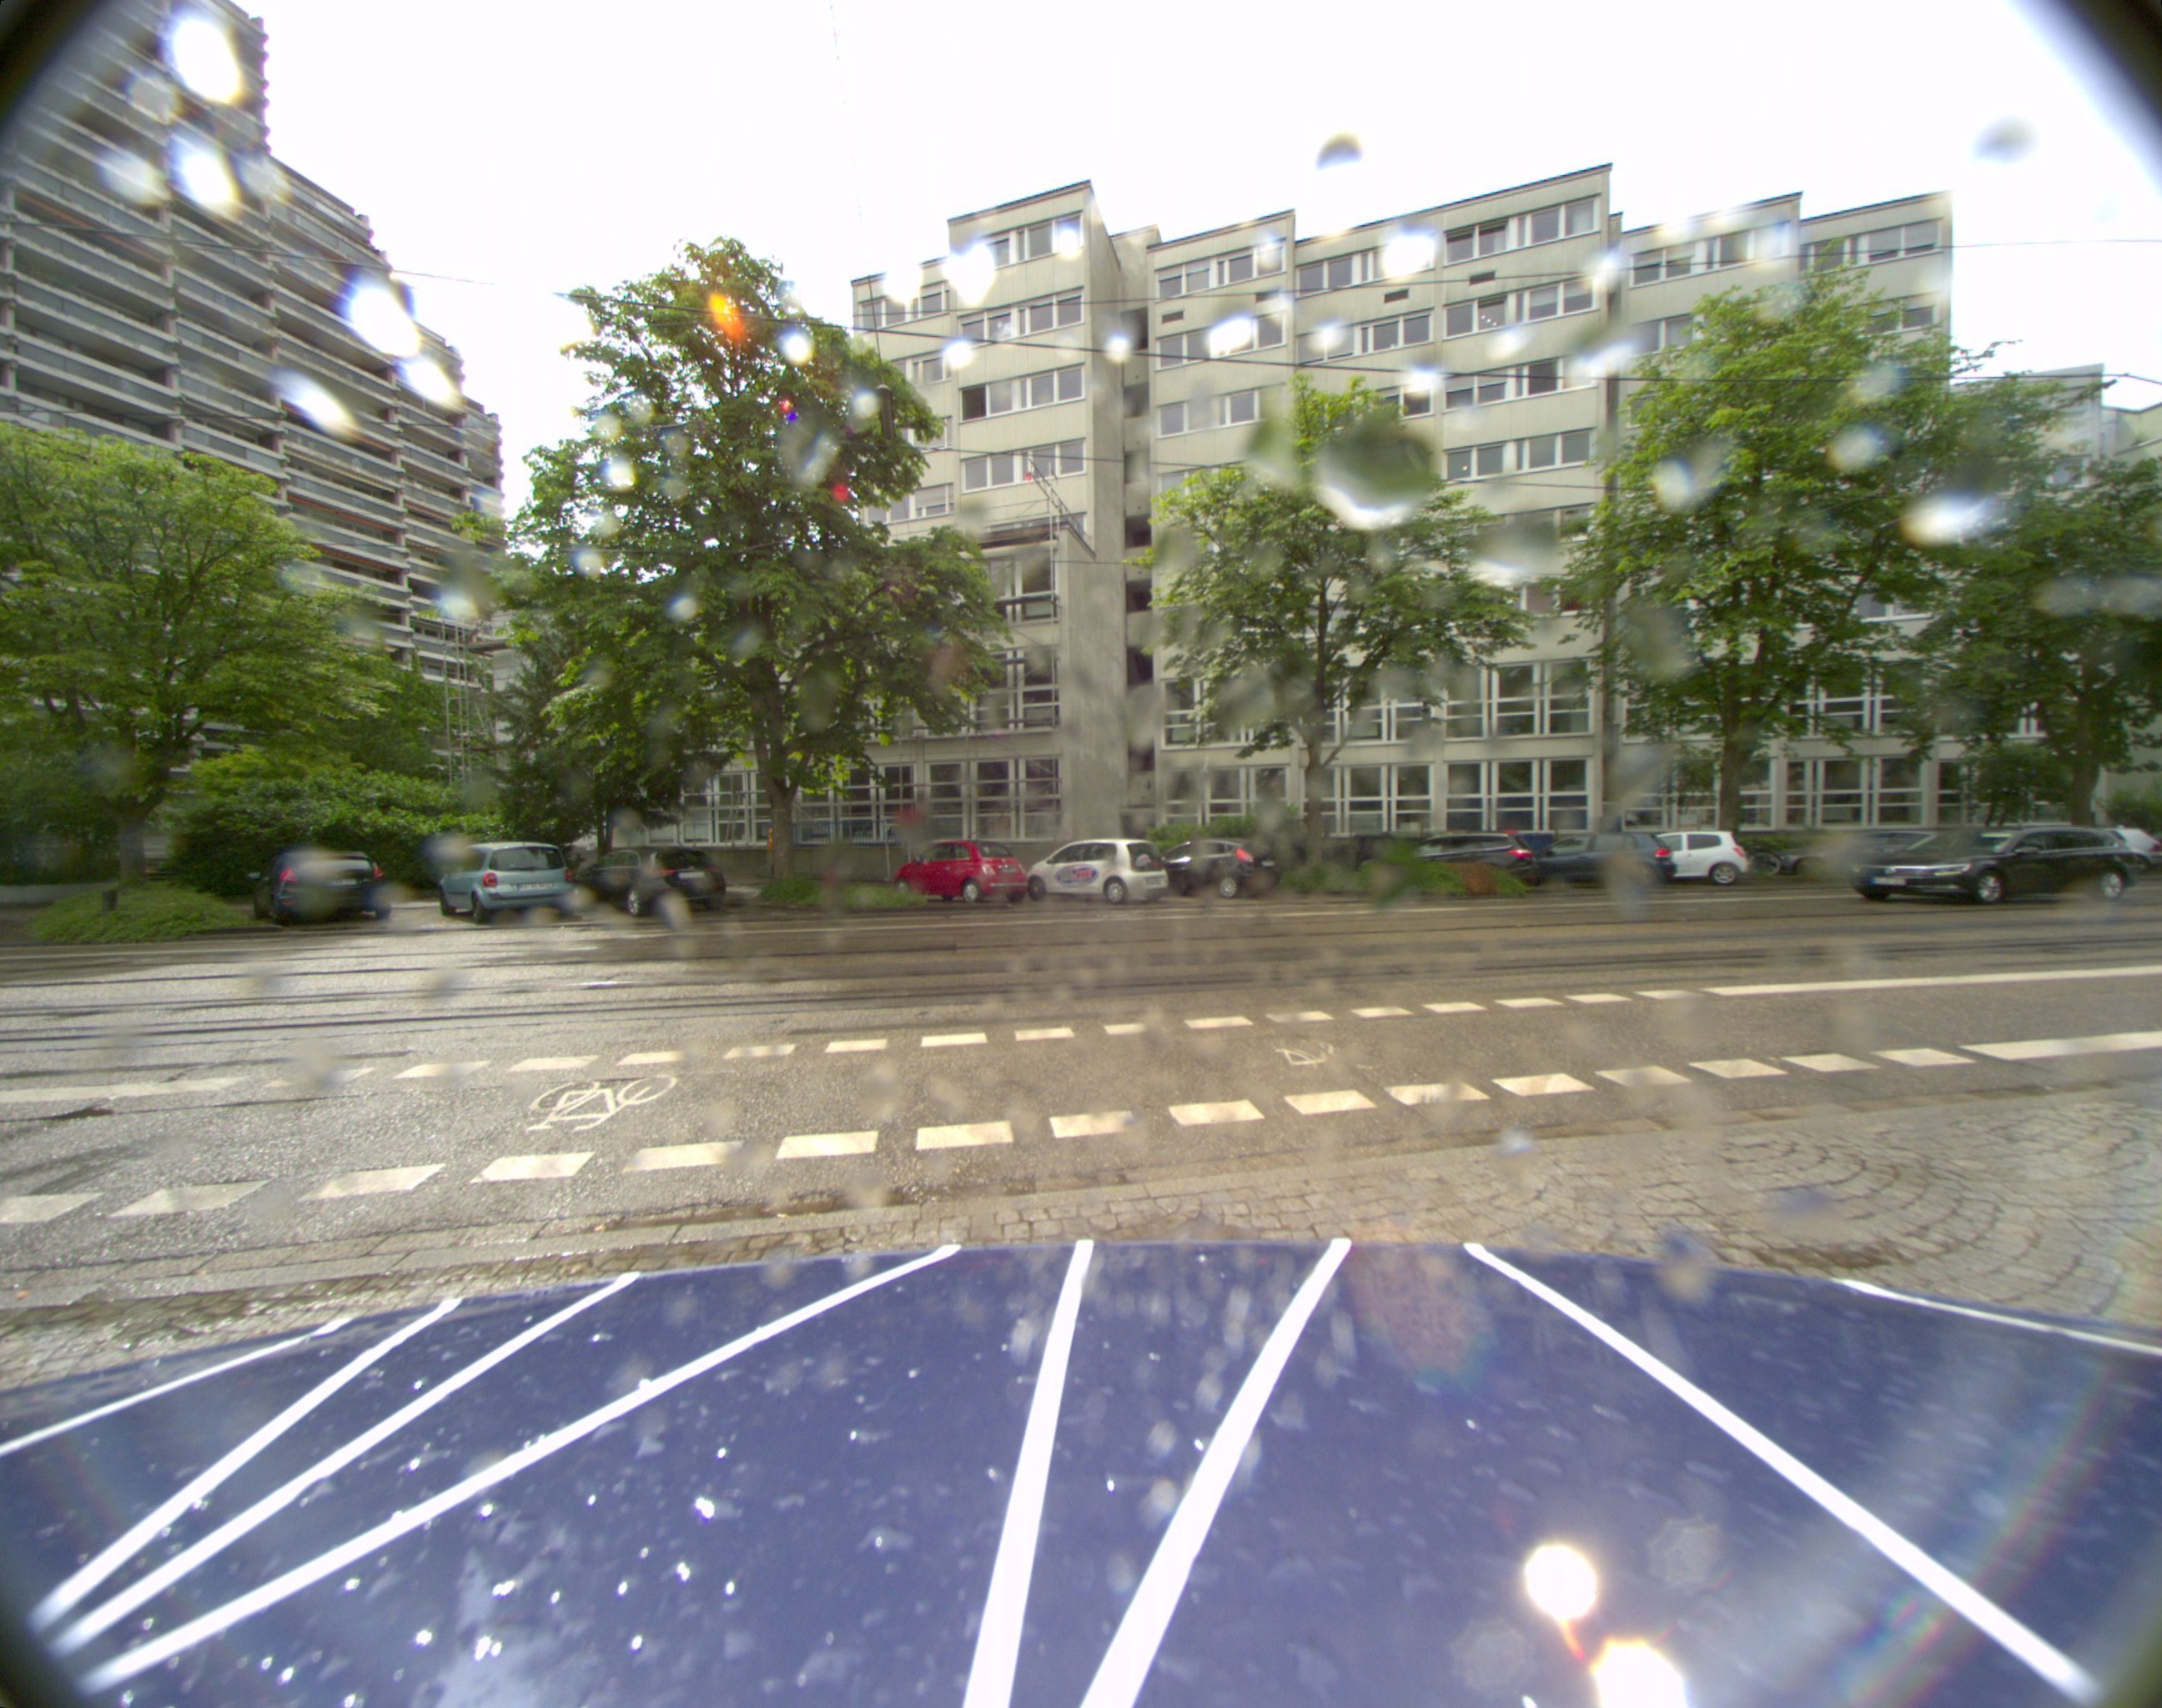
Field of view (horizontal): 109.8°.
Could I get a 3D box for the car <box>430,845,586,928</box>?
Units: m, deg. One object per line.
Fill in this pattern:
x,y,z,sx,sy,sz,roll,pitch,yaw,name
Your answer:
-12.304,0.595,16.267,3.639,1.542,1.712,1,3,38,car

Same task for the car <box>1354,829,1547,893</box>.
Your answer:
9.841,0.202,20.365,4.359,1.546,1.882,-2,0,35,car

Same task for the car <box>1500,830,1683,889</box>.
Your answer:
13.534,0.162,20.280,3.871,1.445,1.826,-2,0,36,car

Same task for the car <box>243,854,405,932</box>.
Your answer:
-16.146,0.736,16.178,3.639,1.389,1.773,0,3,35,car

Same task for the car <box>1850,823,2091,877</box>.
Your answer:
26.334,-0.109,22.782,4.382,1.444,1.889,-2,1,37,car

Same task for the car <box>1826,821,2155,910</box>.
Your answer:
17.510,0.180,14.728,4.764,1.472,1.998,-2,1,-10,car

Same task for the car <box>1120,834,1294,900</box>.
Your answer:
3.119,0.299,19.269,3.967,1.472,1.820,0,2,43,car

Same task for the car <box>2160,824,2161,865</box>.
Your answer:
39.343,-0.356,24.826,4.428,1.444,1.909,-2,1,45,car

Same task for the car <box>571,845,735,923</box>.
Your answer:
-9.369,0.570,16.574,3.639,1.461,1.745,1,3,37,car

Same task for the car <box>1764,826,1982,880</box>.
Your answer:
23.069,0.001,22.400,4.195,1.444,1.817,-2,1,37,car

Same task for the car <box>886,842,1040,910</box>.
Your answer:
-2.857,0.455,18.218,3.398,1.461,1.745,1,1,37,car

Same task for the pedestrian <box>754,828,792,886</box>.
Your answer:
-9.458,0.100,23.324,0.837,1.733,0.708,-1,1,41,pedestrian

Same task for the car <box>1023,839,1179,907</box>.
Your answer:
0.438,0.393,18.275,3.397,1.444,1.714,1,3,40,car

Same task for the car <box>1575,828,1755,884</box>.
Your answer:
16.295,0.085,21.414,3.871,1.445,1.781,-2,0,36,car

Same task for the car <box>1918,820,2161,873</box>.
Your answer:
29.339,-0.205,23.485,4.360,1.444,1.909,-2,1,37,car
